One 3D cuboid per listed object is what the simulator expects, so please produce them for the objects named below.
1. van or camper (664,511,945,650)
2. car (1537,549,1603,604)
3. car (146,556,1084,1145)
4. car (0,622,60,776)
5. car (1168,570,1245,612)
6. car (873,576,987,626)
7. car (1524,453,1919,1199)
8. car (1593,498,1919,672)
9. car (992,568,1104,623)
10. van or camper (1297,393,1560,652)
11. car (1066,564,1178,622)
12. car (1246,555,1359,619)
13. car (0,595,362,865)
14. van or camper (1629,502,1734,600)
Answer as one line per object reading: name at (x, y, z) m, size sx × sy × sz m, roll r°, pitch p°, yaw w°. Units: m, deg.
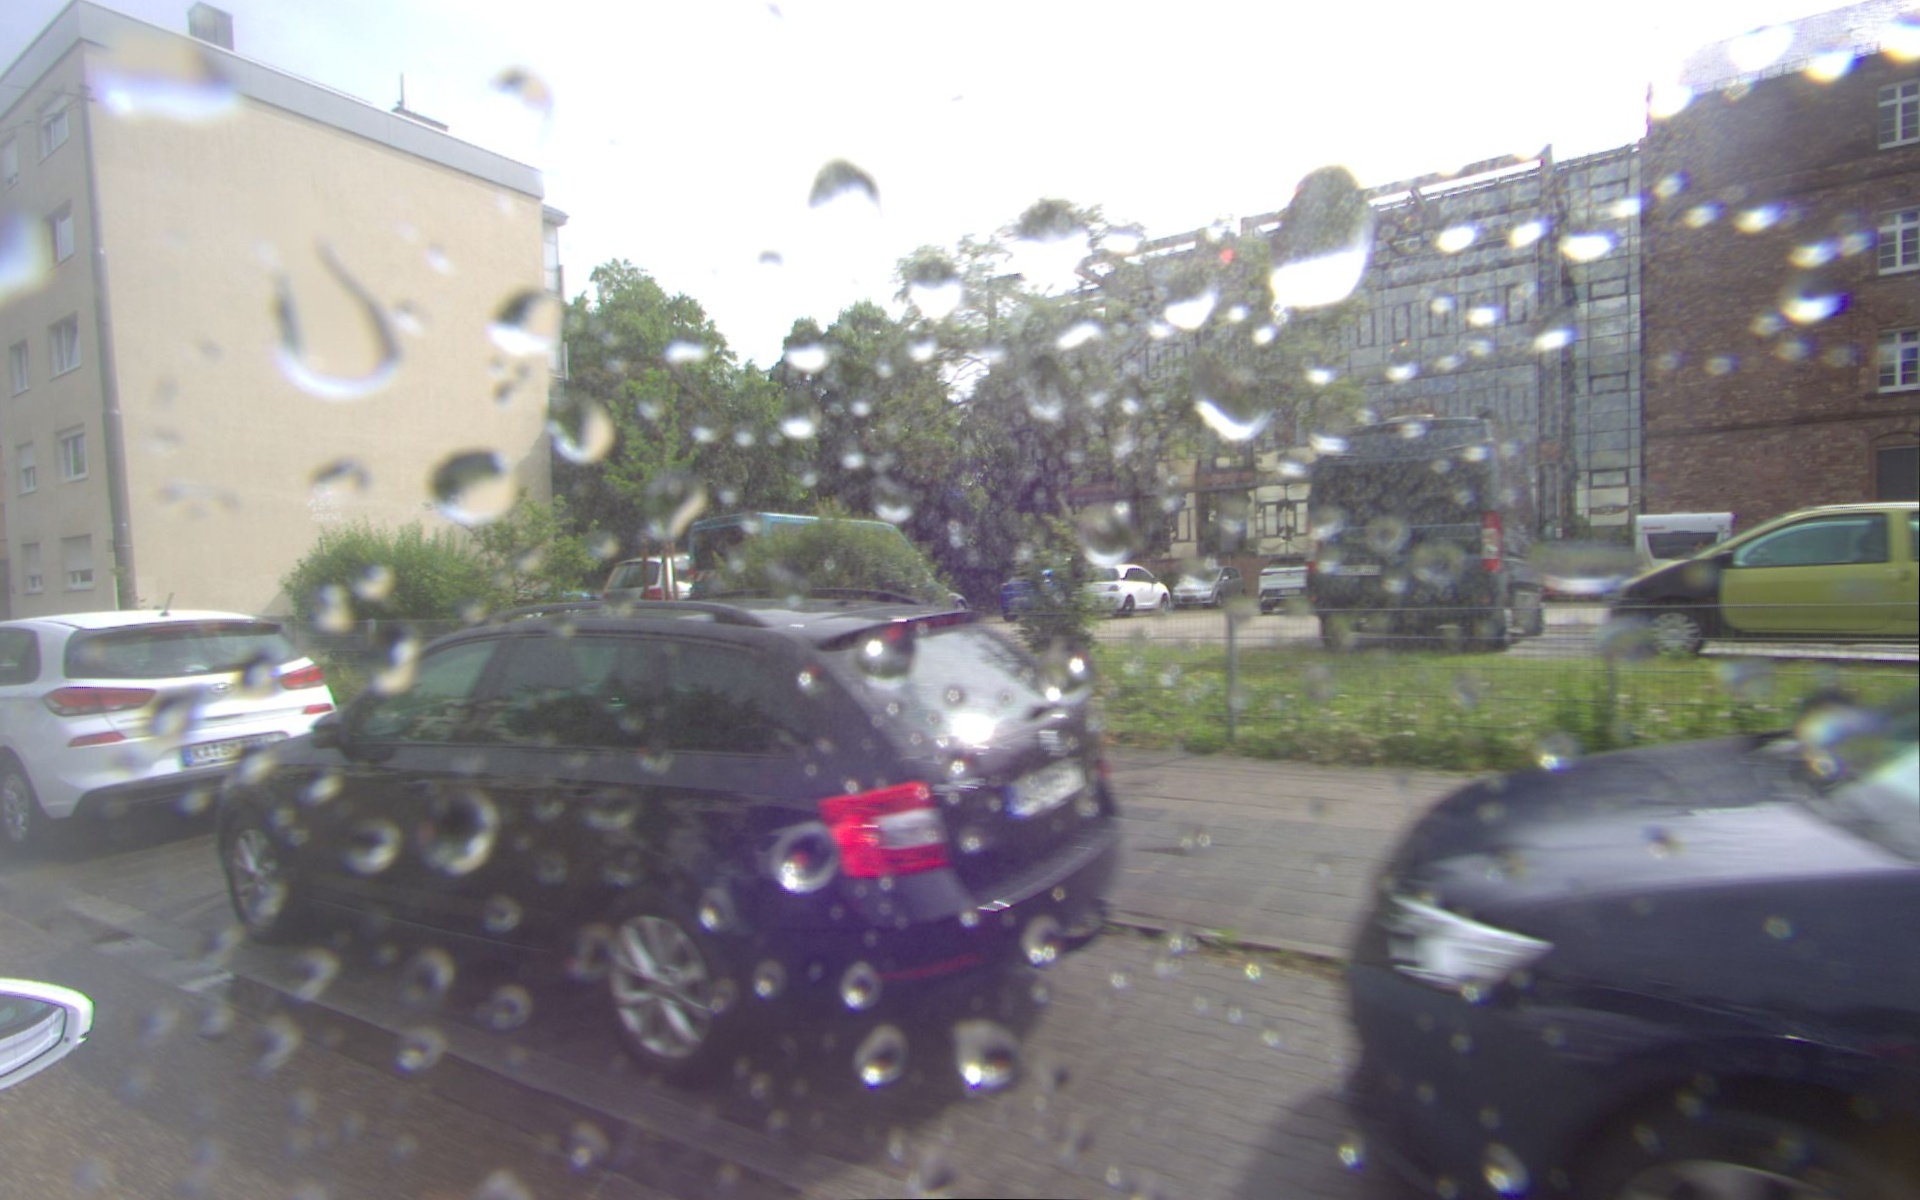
van or camper at (-2.654, -0.338, 18.152) m, size 2.292 × 2.160 × 4.740 m, roll 0°, pitch 1°, yaw 37°
car at (19.122, -0.691, 31.433) m, size 1.662 × 1.538 × 3.491 m, roll -2°, pitch -2°, yaw 31°
car at (-1.688, 0.693, 4.394) m, size 4.101 × 1.529 × 1.600 m, roll -2°, pitch 3°, yaw 32°
car at (-11.223, 0.992, 10.291) m, size 4.195 × 1.471 × 1.714 m, roll -1°, pitch -1°, yaw 30°
car at (9.505, -0.357, 38.416) m, size 1.650 × 1.506 × 3.654 m, roll -1°, pitch 1°, yaw 35°
car at (-0.946, 0.002, 33.727) m, size 1.618 × 1.507 × 4.083 m, roll -1°, pitch 2°, yaw 37°
car at (3.119, 0.492, 1.466) m, size 3.942 × 1.548 × 1.753 m, roll -2°, pitch 1°, yaw 31°
car at (8.047, -0.145, 9.469) m, size 3.373 × 1.468 × 1.604 m, roll -1°, pitch 2°, yaw 37°
car at (2.674, -0.161, 29.752) m, size 1.618 × 1.507 × 3.651 m, roll -1°, pitch 2°, yaw 37°
van or camper at (6.143, -0.787, 12.722) m, size 2.146 × 2.588 × 4.982 m, roll -2°, pitch 0°, yaw 35°
car at (4.693, -0.226, 28.595) m, size 1.618 × 1.507 × 3.651 m, roll -1°, pitch 2°, yaw 37°
car at (8.781, -0.366, 25.486) m, size 1.650 × 1.485 × 3.960 m, roll -1°, pitch 2°, yaw 35°
car at (-6.537, 0.839, 7.521) m, size 4.052 × 1.528 × 1.746 m, roll -3°, pitch 0°, yaw 31°
van or camper at (21.130, -1.311, 29.514) m, size 2.227 × 2.518 × 4.775 m, roll -2°, pitch -2°, yaw 33°
